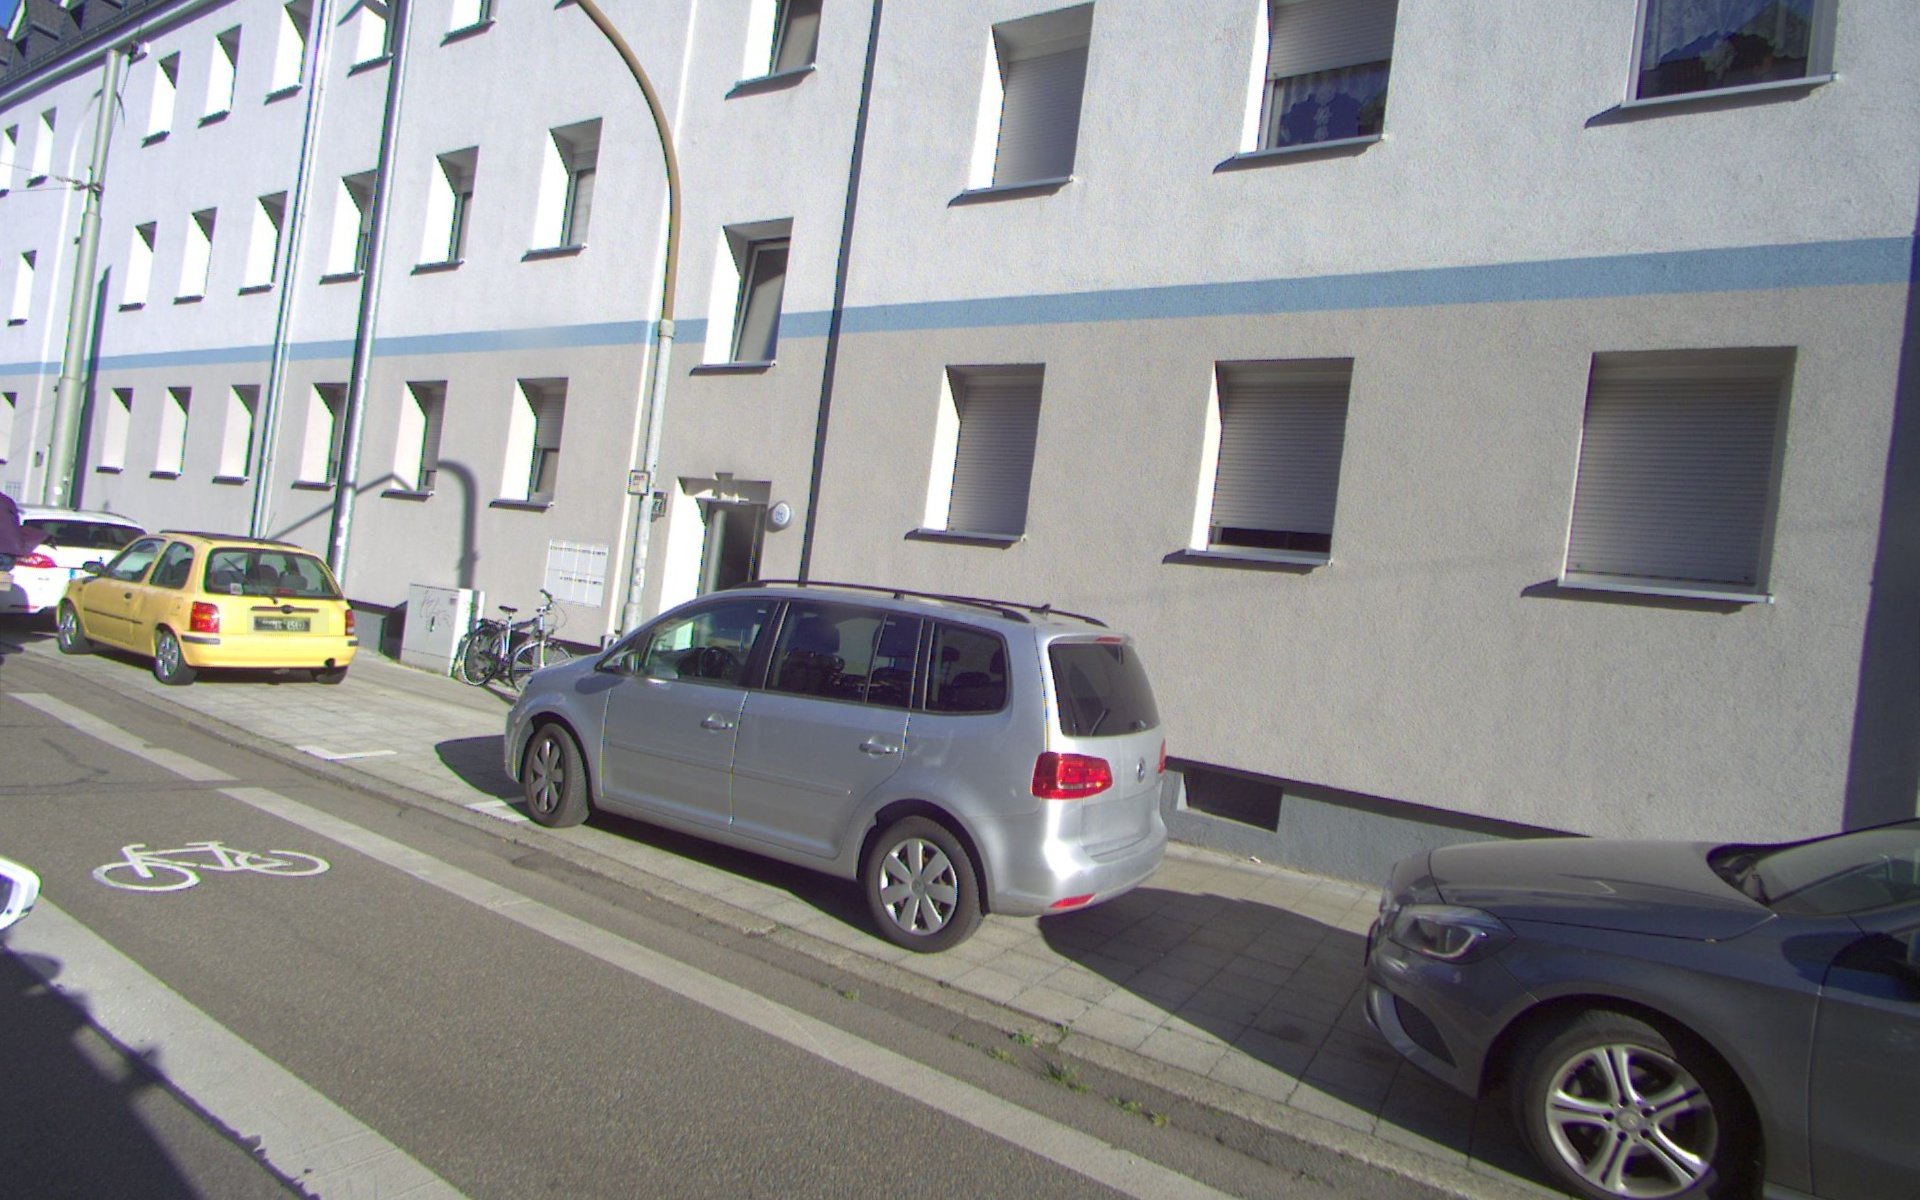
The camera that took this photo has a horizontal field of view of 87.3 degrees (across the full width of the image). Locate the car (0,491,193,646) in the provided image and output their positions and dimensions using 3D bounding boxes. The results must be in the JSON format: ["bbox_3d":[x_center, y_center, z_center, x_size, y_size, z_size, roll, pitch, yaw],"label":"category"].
[{"bbox_3d":[-11.650,-0.516,12.617,4.435,1.590,1.681,7,0,32],"label":"car"}]

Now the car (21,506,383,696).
[{"bbox_3d":[-7.983,-0.035,10.490,4.131,1.448,1.515,7,0,31],"label":"car"}]

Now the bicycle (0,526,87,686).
[{"bbox_3d":[-8.870,-0.053,8.956,2.421,1.250,0.823,7,-2,31],"label":"bicycle"}]

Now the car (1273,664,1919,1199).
[{"bbox_3d":[3.477,1.284,3.154,4.295,1.574,1.865,7,0,33],"label":"car"}]

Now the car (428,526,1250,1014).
[{"bbox_3d":[-0.862,0.667,5.964,4.547,1.686,1.757,7,0,29],"label":"car"}]

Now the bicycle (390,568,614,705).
[{"bbox_3d":[-5.214,0.408,11.429,2.288,1.211,1.098,7,-1,31],"label":"bicycle"}]

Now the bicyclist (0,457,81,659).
[{"bbox_3d":[-8.596,-0.411,8.824,0.953,1.696,0.936,7,-1,31],"label":"bicyclist"}]
